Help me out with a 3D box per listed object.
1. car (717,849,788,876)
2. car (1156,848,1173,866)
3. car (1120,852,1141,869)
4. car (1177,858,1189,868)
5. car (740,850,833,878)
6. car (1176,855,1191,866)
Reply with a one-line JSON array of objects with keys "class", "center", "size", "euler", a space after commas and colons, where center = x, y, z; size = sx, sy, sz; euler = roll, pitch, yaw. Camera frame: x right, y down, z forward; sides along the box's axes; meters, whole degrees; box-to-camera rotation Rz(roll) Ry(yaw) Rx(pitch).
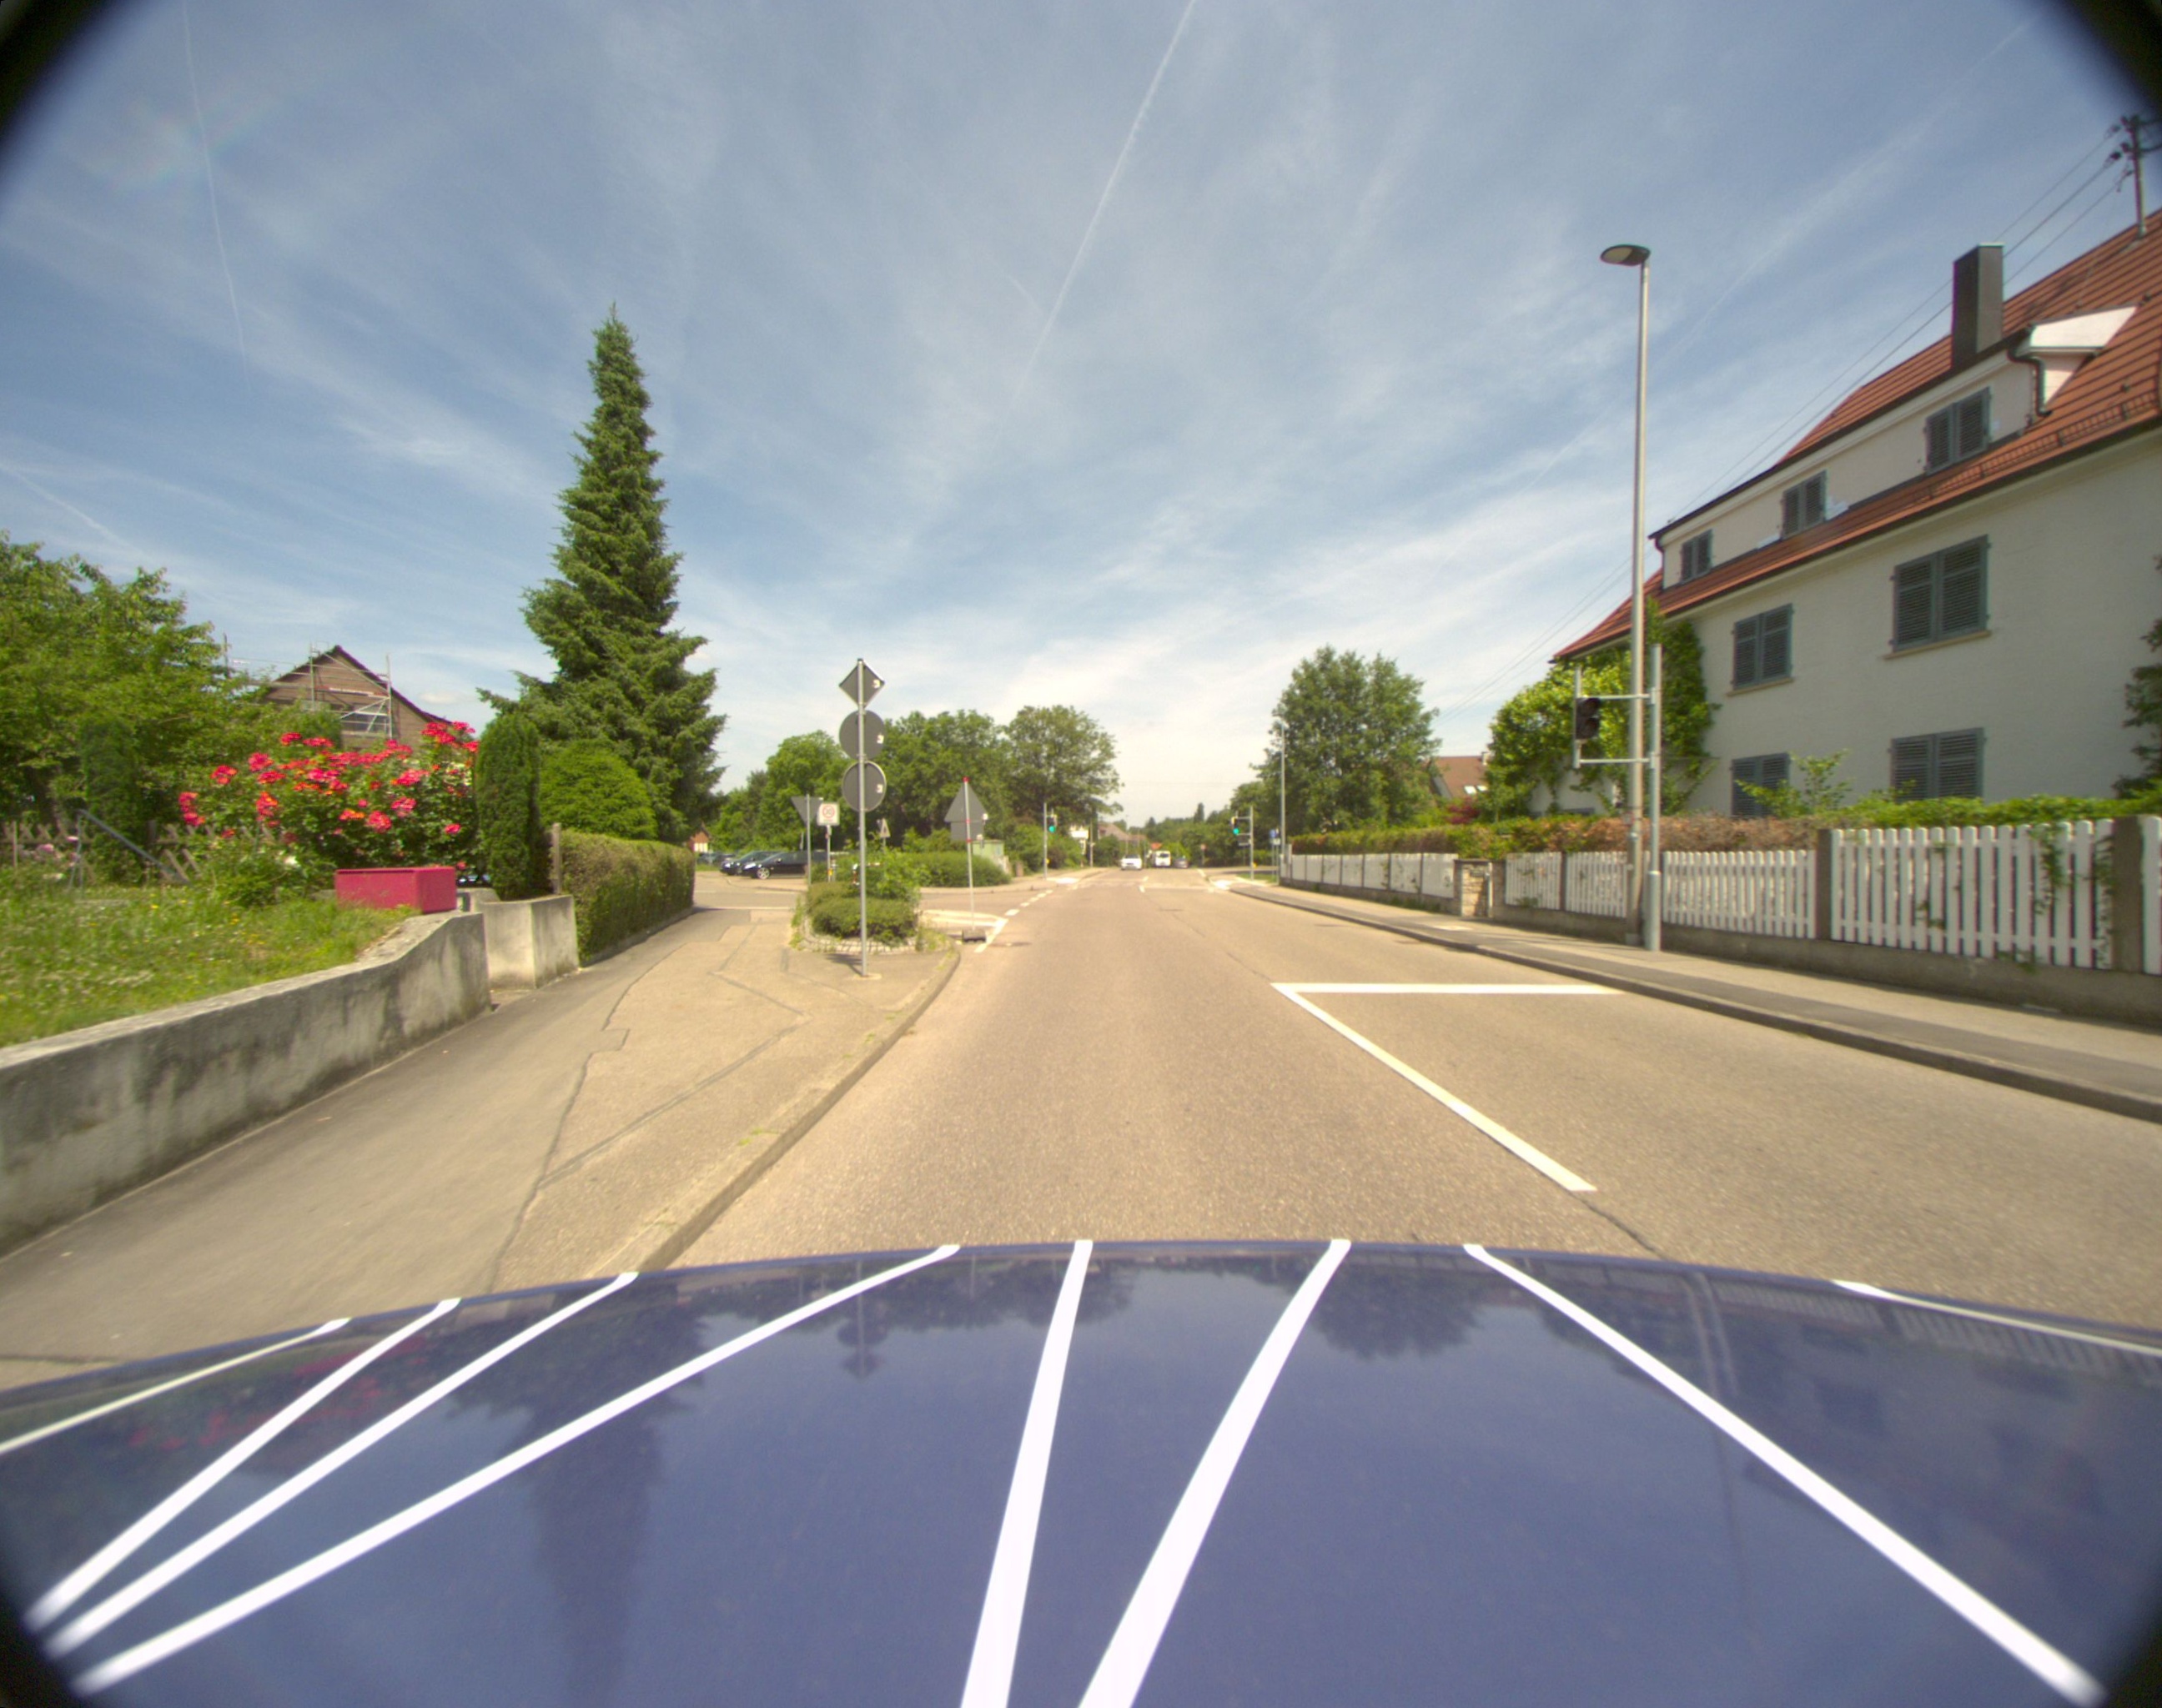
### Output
[{"class": "car", "center": [-18.773, 0.464, 43.513], "size": [3.441, 1.476, 1.413], "euler": [0, 1, -43]}, {"class": "car", "center": [9.761, 0.354, 88.879], "size": [1.883, 1.954, 4.903], "euler": [0, 1, 5]}, {"class": "car", "center": [4.542, 0.571, 68.780], "size": [1.826, 1.543, 4.002], "euler": [0, 0, 5]}, {"class": "car", "center": [16.219, 1.428, 120.888], "size": [1.815, 1.540, 4.246], "euler": [0, -2, 5]}, {"class": "car", "center": [-15.318, 0.498, 39.624], "size": [4.293, 1.390, 1.396], "euler": [-1, 1, -37]}, {"class": "car", "center": [12.966, 0.812, 96.115], "size": [1.783, 1.386, 4.411], "euler": [0, 0, 7]}]
